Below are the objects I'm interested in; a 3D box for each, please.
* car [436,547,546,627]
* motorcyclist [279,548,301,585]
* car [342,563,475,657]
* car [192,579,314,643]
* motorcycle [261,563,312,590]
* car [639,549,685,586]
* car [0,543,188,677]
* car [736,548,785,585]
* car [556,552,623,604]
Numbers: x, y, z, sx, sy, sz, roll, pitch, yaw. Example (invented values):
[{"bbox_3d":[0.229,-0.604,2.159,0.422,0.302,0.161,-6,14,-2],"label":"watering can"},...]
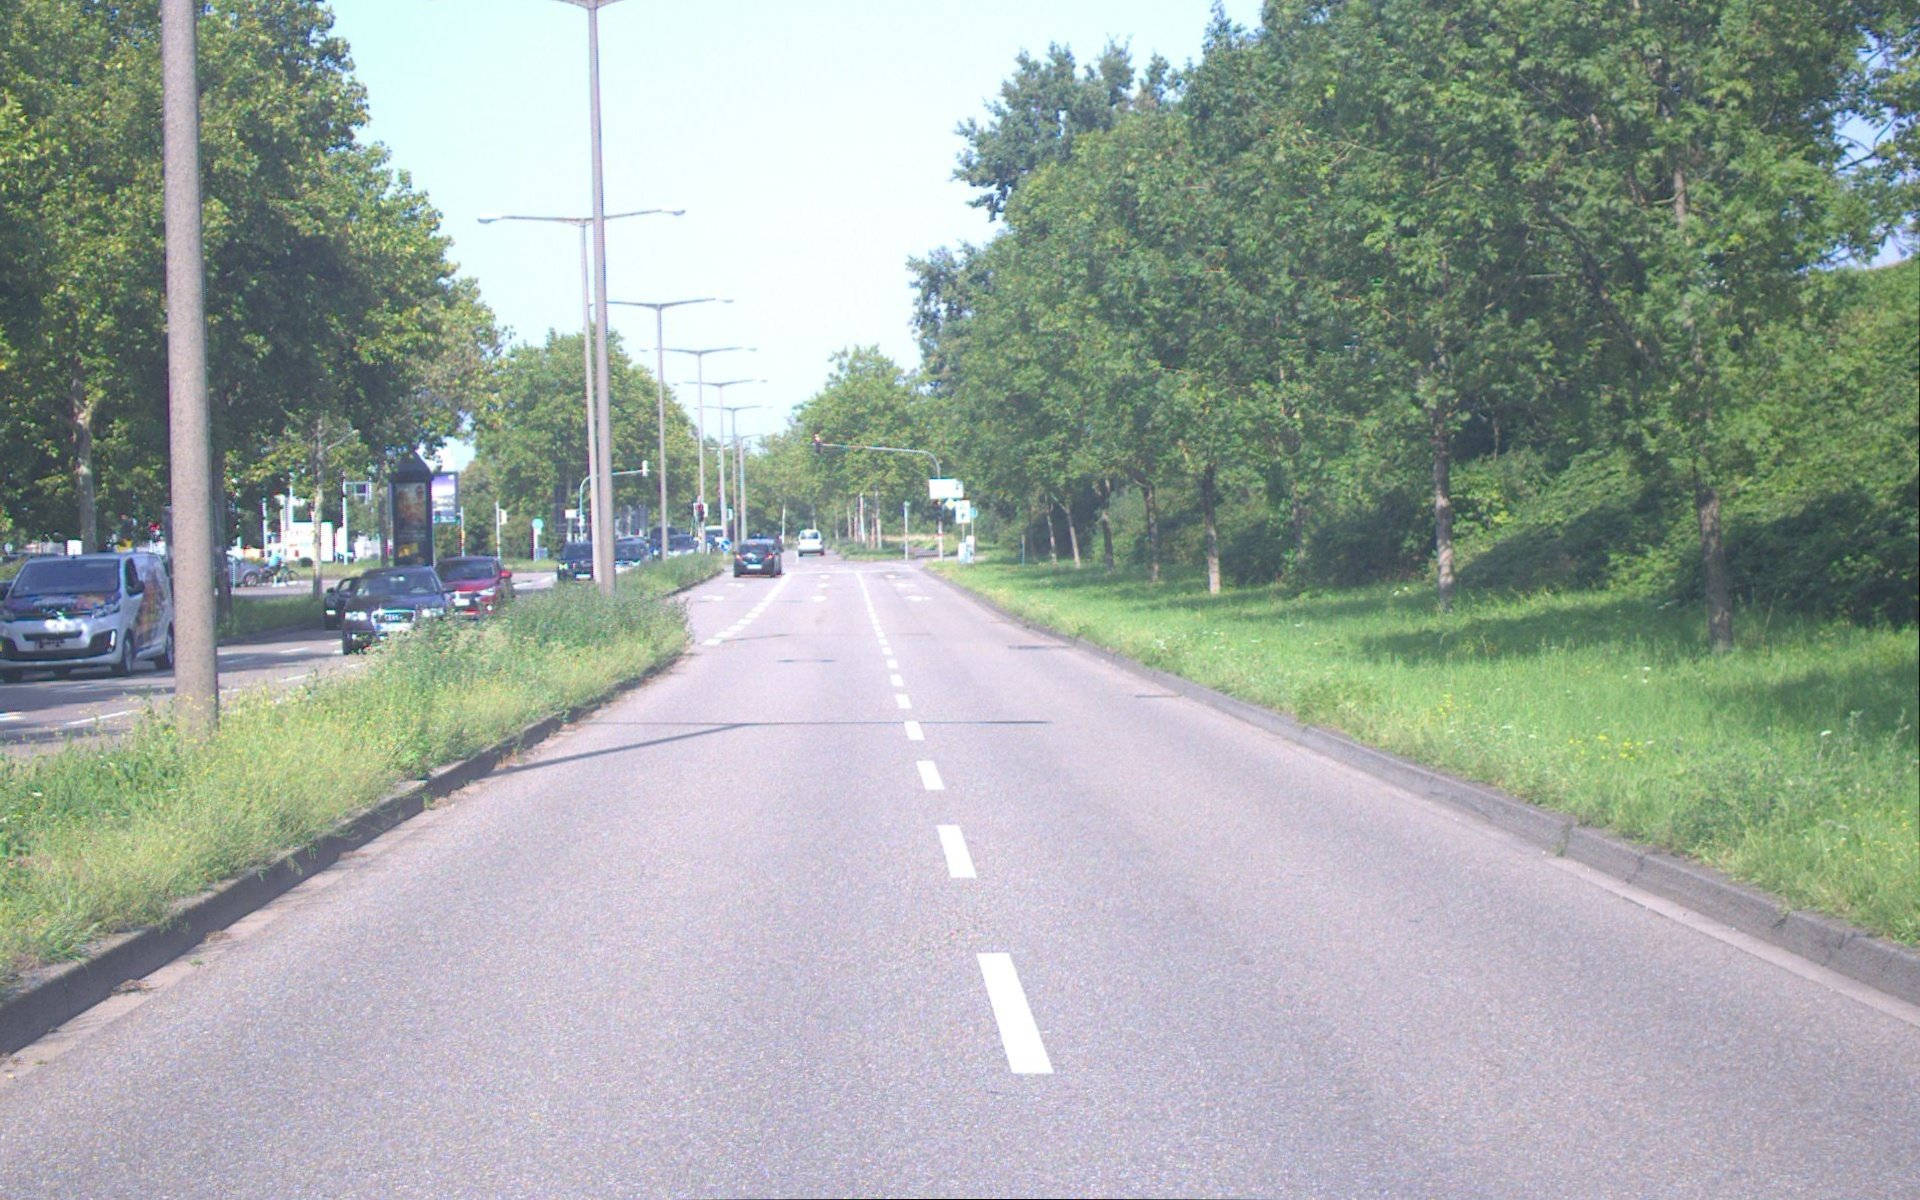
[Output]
[{"bbox_3d":[-10.651,-0.319,78.339,1.954,1.718,4.587,-1,1,-2],"label":"car"},{"bbox_3d":[-28.838,-1.446,147.926,0.682,1.566,0.683,-1,1,-38],"label":"motorcyclist"},{"bbox_3d":[-9.485,0.144,59.388,1.746,1.474,4.587,-3,1,-4],"label":"car"},{"bbox_3d":[-15.451,0.217,75.325,1.790,1.258,4.095,-3,1,0],"label":"car"},{"bbox_3d":[-28.953,-1.016,147.823,2.070,1.132,0.677,-1,0,-37],"label":"motorcycle"},{"bbox_3d":[-13.318,-1.427,153.763,1.879,1.588,4.108,0,0,-2],"label":"car"},{"bbox_3d":[-13.322,0.127,52.533,1.984,1.852,4.970,-3,1,-2],"label":"car"},{"bbox_3d":[-8.270,-1.409,142.455,1.692,1.481,4.000,-1,1,1],"label":"car"},{"bbox_3d":[-13.406,-0.813,124.547,1.993,1.753,4.477,-3,1,-2],"label":"car"}]
